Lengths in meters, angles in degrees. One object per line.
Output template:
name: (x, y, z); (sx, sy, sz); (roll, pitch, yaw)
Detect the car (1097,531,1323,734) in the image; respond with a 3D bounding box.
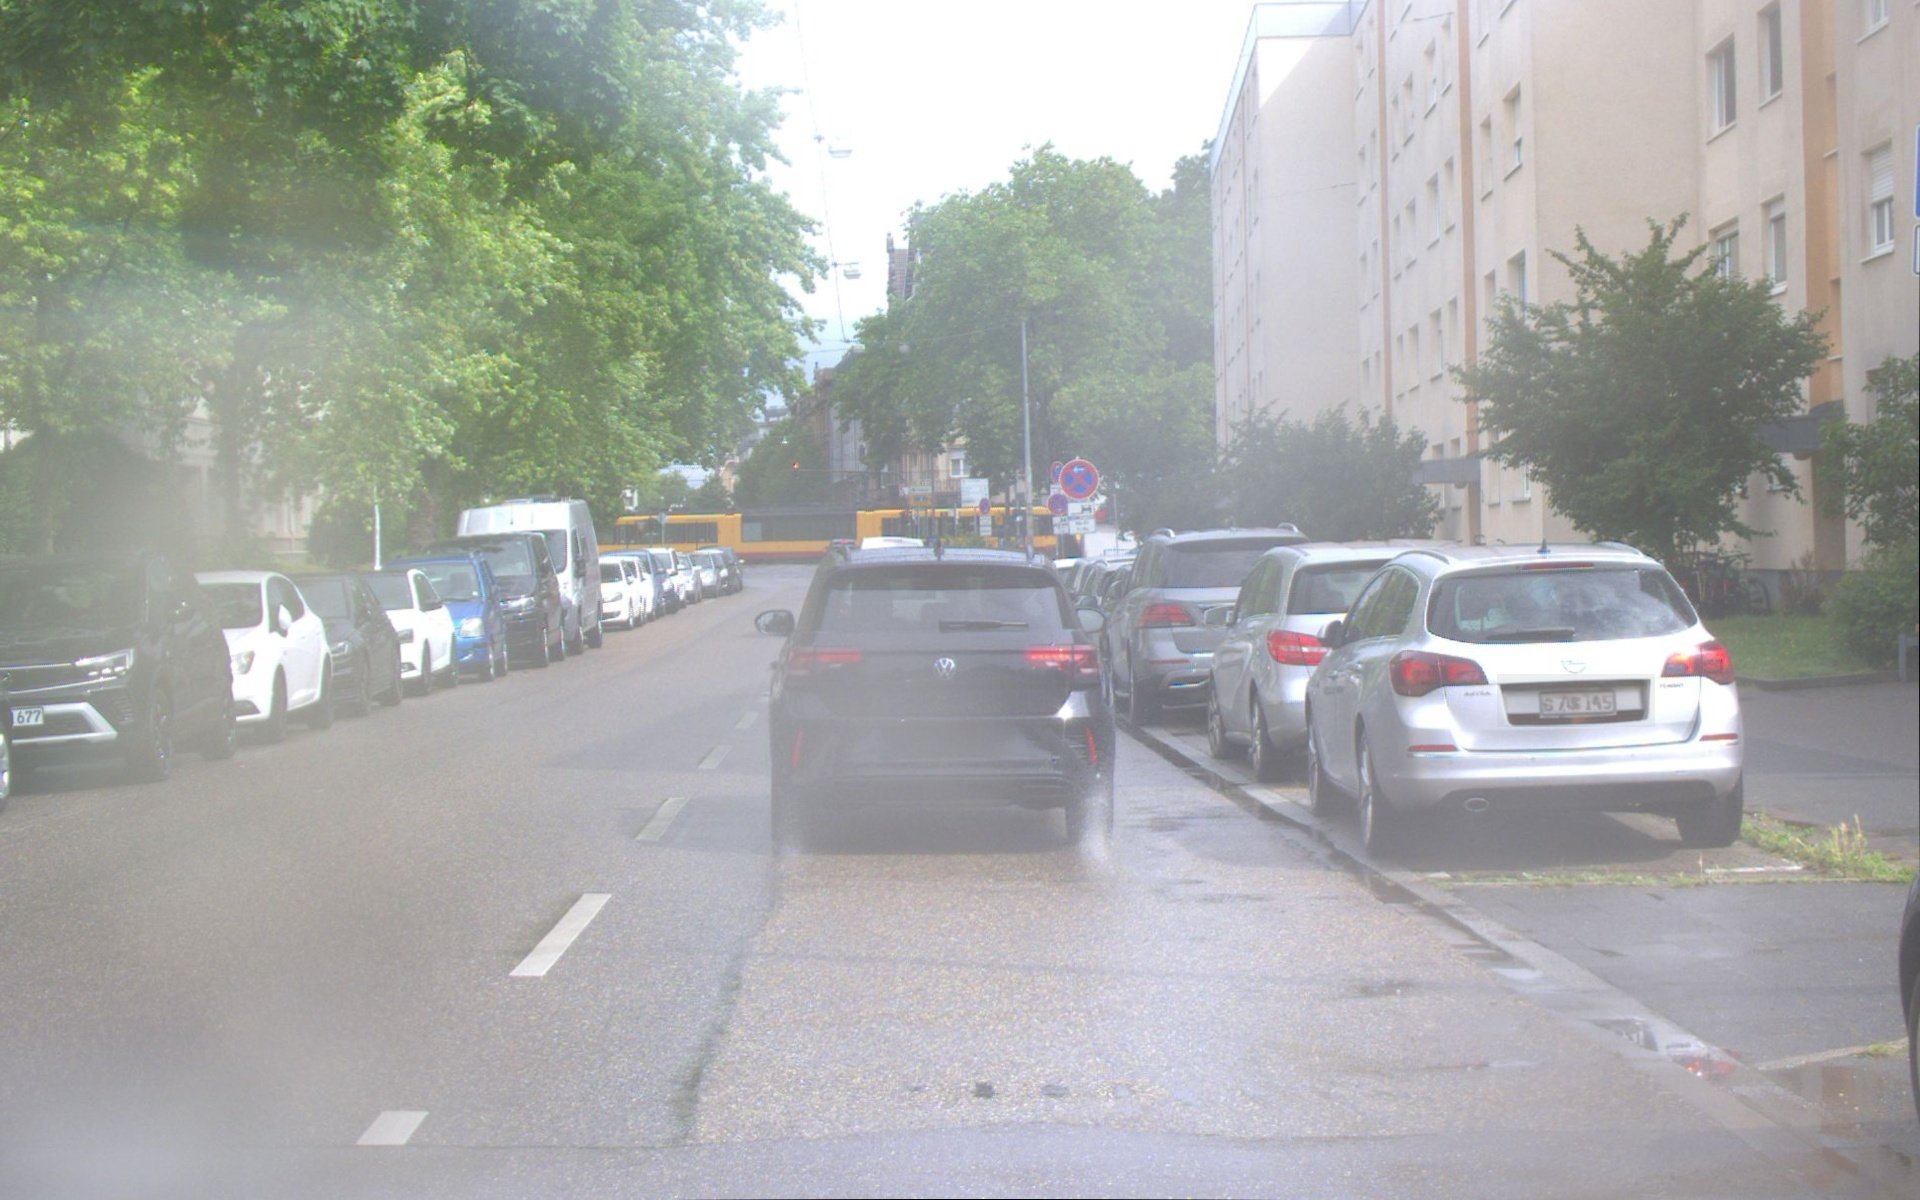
car: (2.210, 0.246, 31.254); (1.604, 1.666, 4.032); (-2, 1, -1)

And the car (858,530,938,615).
car: (-1.563, -0.693, 88.096); (1.836, 2.096, 4.000); (1, 0, 1)

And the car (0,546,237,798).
car: (-6.212, 0.446, 23.908); (1.586, 1.570, 4.015); (-2, 1, -2)

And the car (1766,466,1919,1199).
car: (2.960, 0.553, 6.866); (1.604, 1.656, 4.033); (0, 1, -2)

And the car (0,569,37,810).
car: (-6.440, 0.579, 19.135); (1.586, 1.413, 4.053); (-2, 1, -2)

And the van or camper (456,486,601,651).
van or camper: (-6.945, -0.529, 55.757); (1.802, 2.485, 5.021); (-2, 1, -2)

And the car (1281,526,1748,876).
car: (2.720, 0.432, 17.724); (1.695, 1.533, 4.032); (-2, 1, 0)

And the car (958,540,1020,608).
car: (0.819, -0.746, 97.050); (1.665, 1.831, 4.000); (-2, 1, 0)

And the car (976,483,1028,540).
car: (1.393, -2.947, 115.512); (1.665, 1.831, 4.000); (-2, 1, 0)

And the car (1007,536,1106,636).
car: (1.787, -0.286, 64.727); (1.604, 1.759, 4.032); (-2, 1, -1)

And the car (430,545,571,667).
car: (-6.598, 0.053, 49.654); (1.586, 1.634, 3.921); (-2, 1, -2)

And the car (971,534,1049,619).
car: (1.123, -0.554, 77.794); (1.665, 1.831, 4.000); (-2, 1, 0)

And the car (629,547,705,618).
car: (-7.110, -0.445, 83.701); (1.586, 1.634, 3.921); (-2, 1, -2)

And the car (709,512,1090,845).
car: (-0.231, 0.351, 19.210); (1.873, 1.640, 4.062); (1, 1, 2)

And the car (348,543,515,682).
car: (-6.679, 0.121, 43.732); (1.586, 1.634, 3.921); (-2, 1, -2)

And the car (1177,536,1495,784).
car: (2.504, 0.350, 23.736); (1.604, 1.500, 4.032); (-2, 1, -1)

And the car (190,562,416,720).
car: (-6.518, 0.362, 34.464); (1.586, 1.413, 3.921); (-2, 1, -2)

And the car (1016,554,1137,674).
car: (1.803, 0.187, 54.278); (1.604, 1.759, 4.032); (-2, 1, -1)

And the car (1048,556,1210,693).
car: (1.991, 0.260, 41.465); (1.604, 1.500, 4.032); (-2, 1, -1)

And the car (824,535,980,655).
car: (-0.729, -0.064, 45.842); (1.813, 1.498, 4.000); (1, 0, 3)

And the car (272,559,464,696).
car: (-6.706, 0.273, 39.266); (1.586, 1.413, 3.921); (-2, 1, -2)

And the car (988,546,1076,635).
car: (1.496, -0.221, 72.253); (1.604, 1.759, 4.032); (-2, 1, -1)

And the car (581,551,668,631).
car: (-7.309, -0.225, 75.158); (1.586, 1.634, 3.921); (-2, 1, -2)

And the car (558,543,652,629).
car: (-7.197, -0.299, 69.949); (1.586, 1.634, 3.921); (-2, 1, -2)

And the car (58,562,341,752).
car: (-6.332, 0.424, 28.999); (1.586, 1.413, 3.921); (-2, 1, -2)
